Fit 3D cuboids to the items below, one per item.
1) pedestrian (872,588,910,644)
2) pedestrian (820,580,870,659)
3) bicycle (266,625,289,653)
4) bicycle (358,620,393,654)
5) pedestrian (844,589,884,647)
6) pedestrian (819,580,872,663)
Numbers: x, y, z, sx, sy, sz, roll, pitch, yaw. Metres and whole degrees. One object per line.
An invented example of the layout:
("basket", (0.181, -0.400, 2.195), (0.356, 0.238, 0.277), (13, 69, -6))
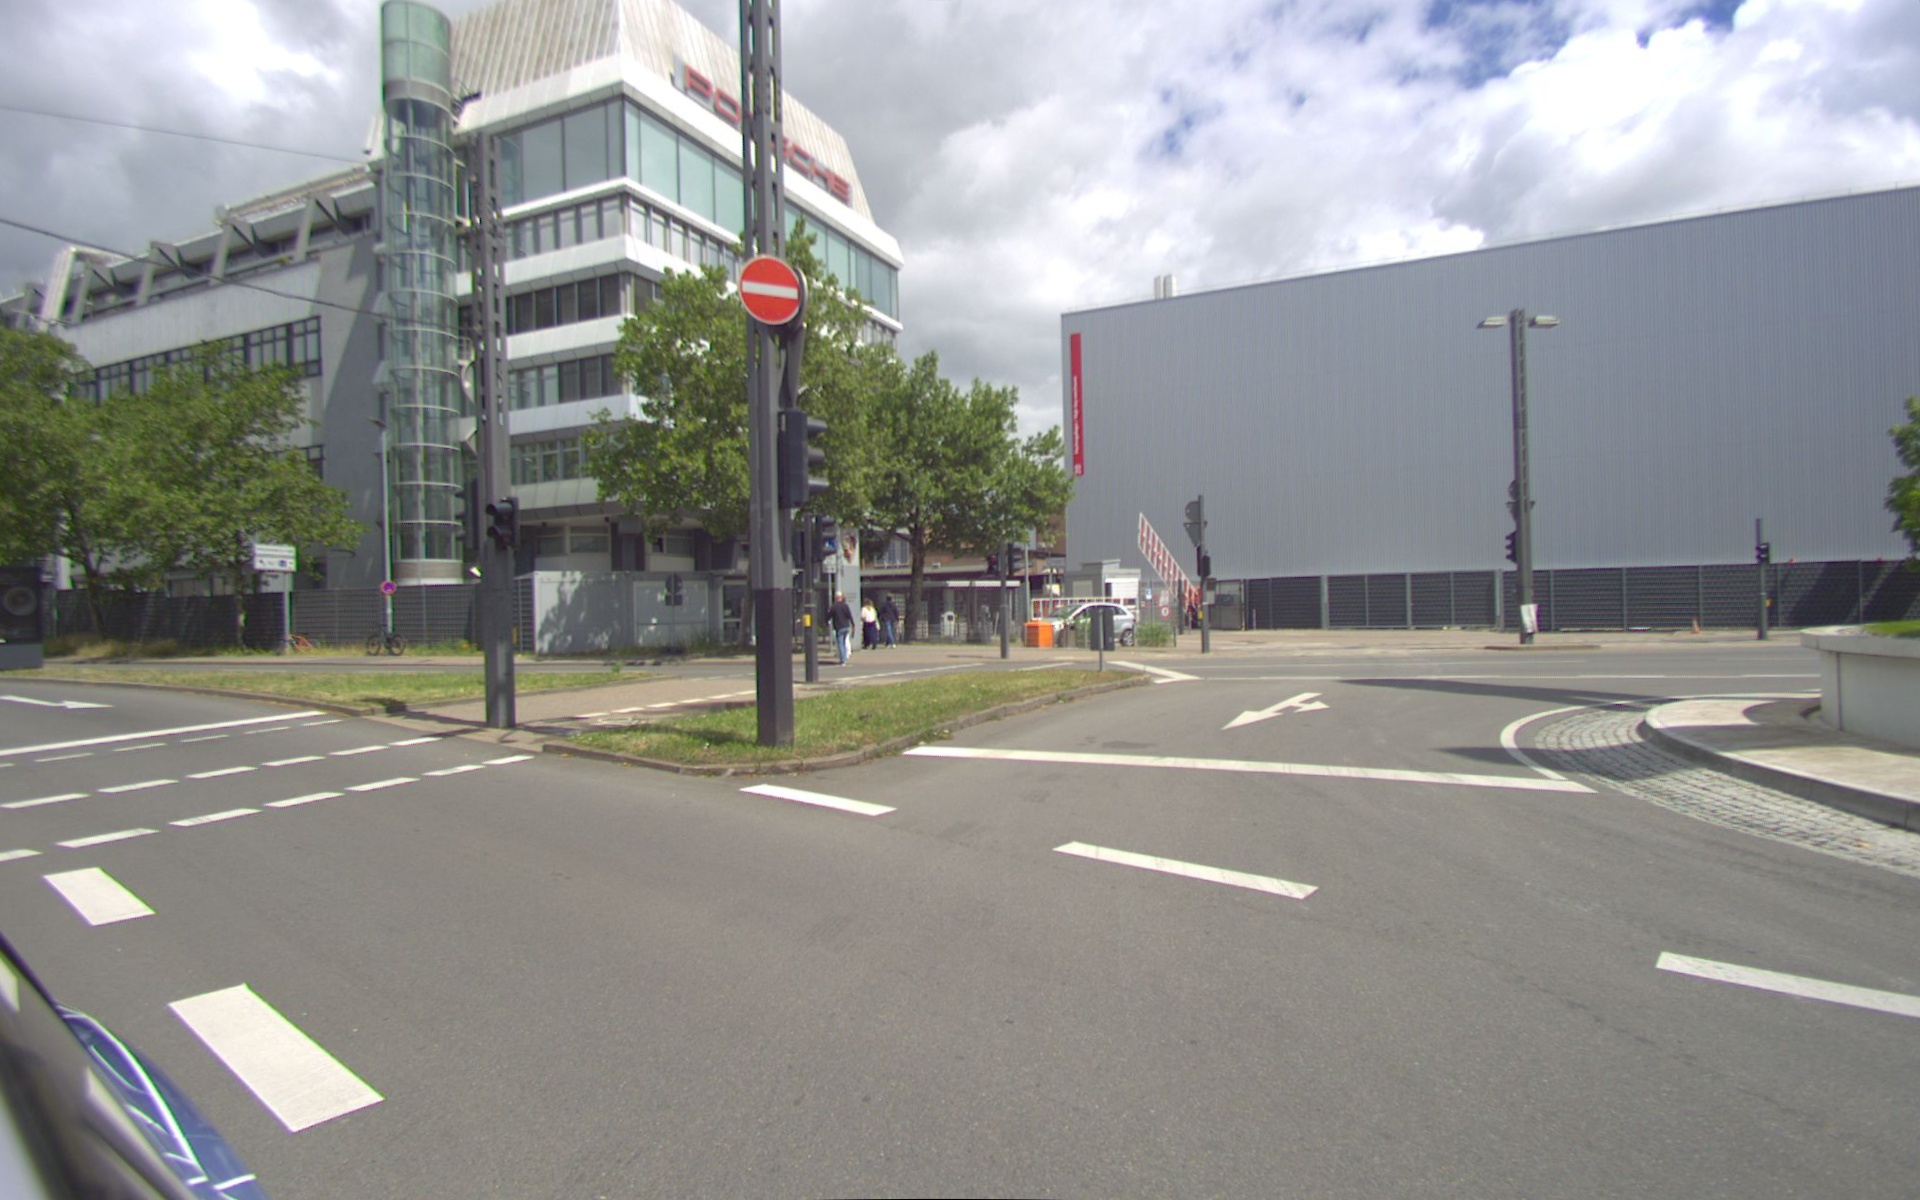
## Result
("pedestrian", (-2.239, 0.512, 32.991), (1.024, 1.787, 0.863), (-1, 1, 11))
("pedestrian", (-3.107, 0.515, 27.405), (0.951, 2.070, 0.942), (0, 1, 43))
("bicycle", (-25.786, 1.483, 38.221), (1.249, 1.013, 0.294), (0, 1, 35))
("bicycle", (-20.219, 1.273, 35.015), (1.478, 1.140, 0.294), (0, 1, 28))
("pedestrian", (-3.003, 0.549, 31.778), (1.024, 1.787, 0.863), (-1, 1, 11))
("pedestrian", (-2.935, 0.529, 25.930), (0.951, 2.070, 0.942), (0, 1, 43))
